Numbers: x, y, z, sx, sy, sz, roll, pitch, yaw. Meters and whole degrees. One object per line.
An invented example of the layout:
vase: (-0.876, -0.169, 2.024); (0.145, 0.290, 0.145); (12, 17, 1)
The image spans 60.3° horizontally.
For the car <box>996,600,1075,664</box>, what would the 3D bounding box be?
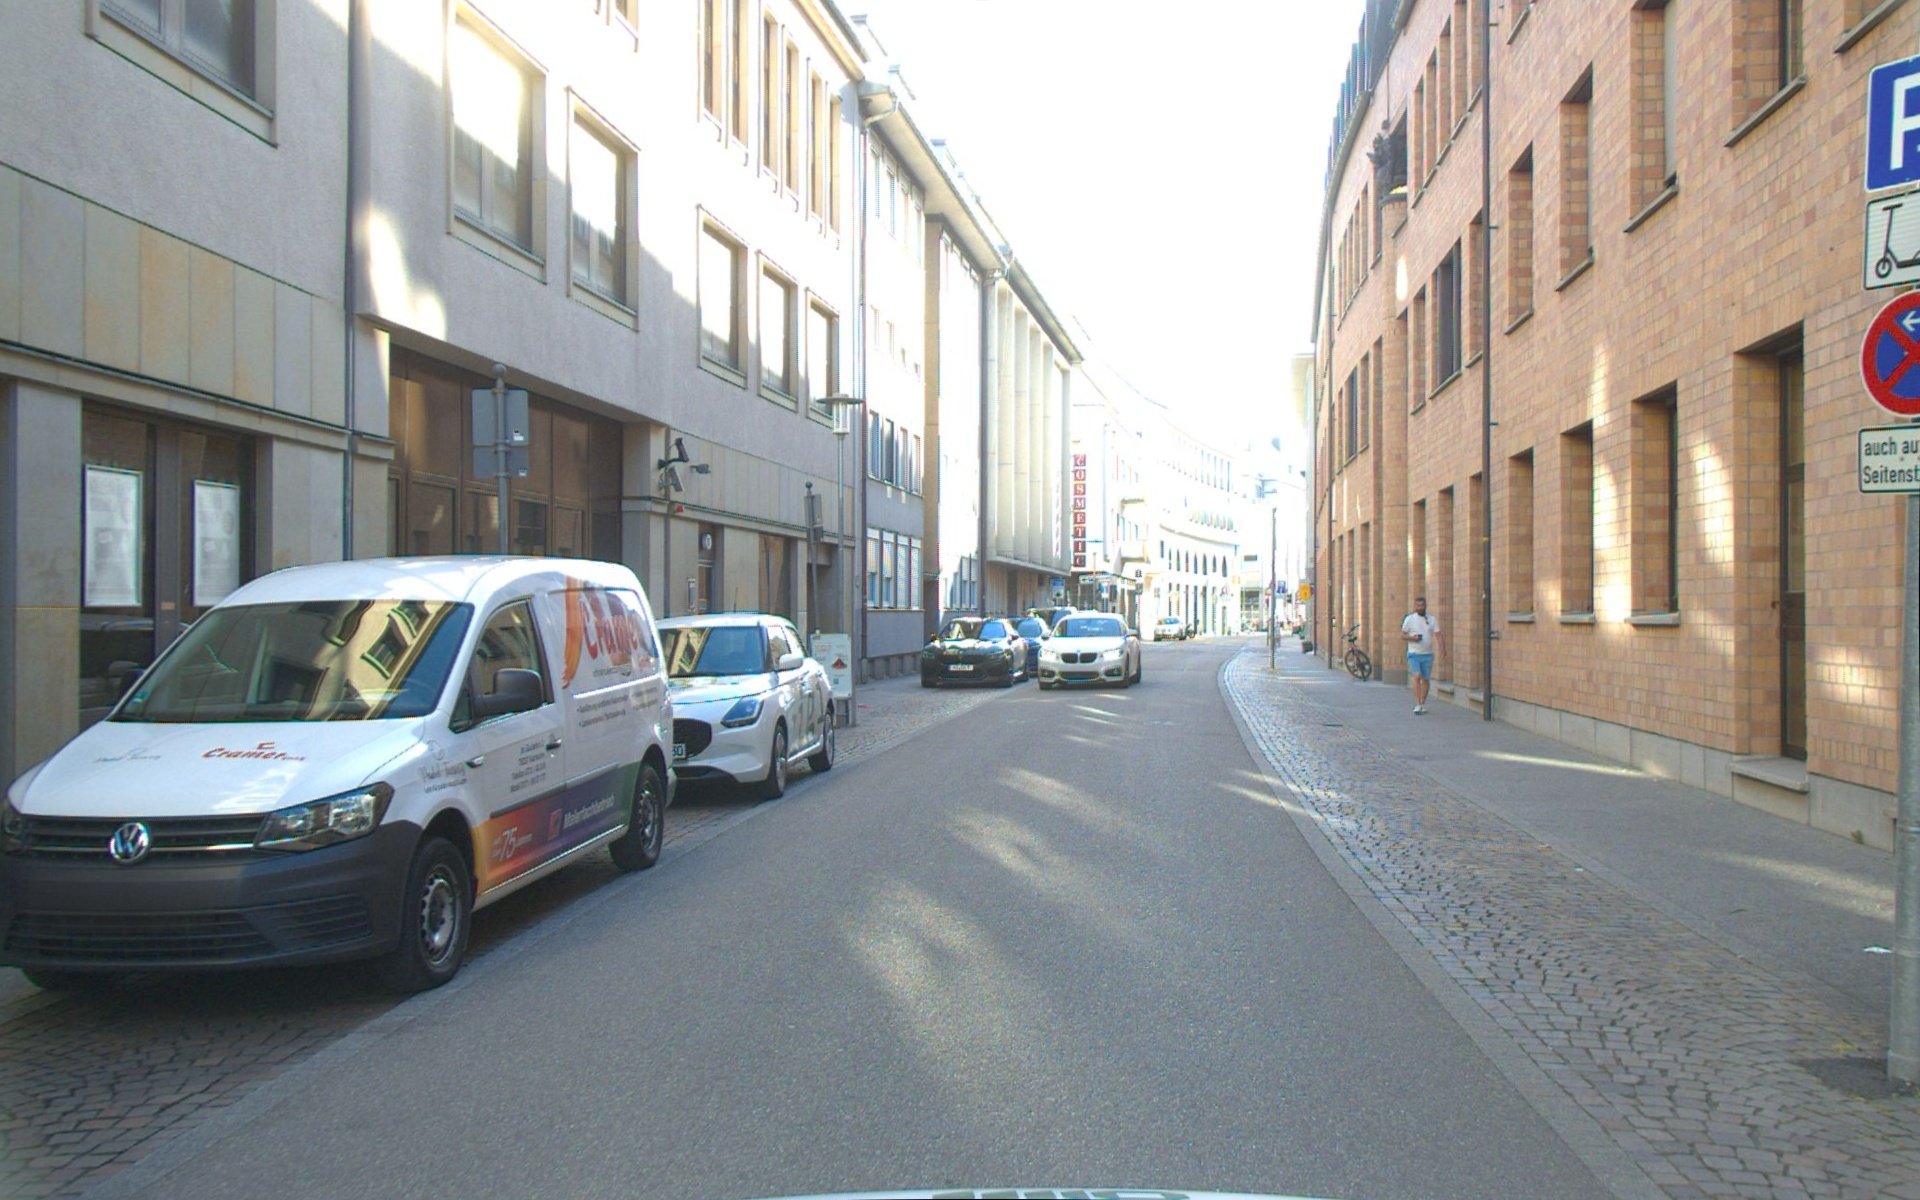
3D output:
car: (2.202, 0.886, 47.098); (1.850, 1.705, 4.557); (-1, -1, 7)

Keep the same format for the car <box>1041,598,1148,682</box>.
car: (2.732, 0.769, 32.833); (1.678, 1.544, 4.163); (-1, -1, 11)

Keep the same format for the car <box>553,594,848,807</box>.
car: (-2.111, 0.793, 14.472); (1.634, 1.549, 3.777); (-3, -1, 5)

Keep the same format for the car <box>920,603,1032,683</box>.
car: (0.418, 0.881, 35.303); (1.850, 1.557, 4.732); (-1, -1, 7)

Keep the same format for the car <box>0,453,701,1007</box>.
car: (-2.797, 0.498, 8.159); (1.859, 1.890, 4.736); (-2, -1, 5)

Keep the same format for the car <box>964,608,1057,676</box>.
car: (1.294, 0.995, 40.548); (1.850, 1.557, 4.343); (-1, -1, 7)

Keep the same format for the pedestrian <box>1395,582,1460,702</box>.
pedestrian: (7.018, 0.623, 24.874); (0.744, 1.746, 0.822); (-2, -1, 7)

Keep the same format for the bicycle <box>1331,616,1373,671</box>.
bicycle: (8.501, 0.931, 35.906); (0.538, 1.122, 1.983); (-4, -1, 5)

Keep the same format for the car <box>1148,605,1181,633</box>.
car: (12.316, 1.158, 99.589); (1.699, 1.634, 3.535); (0, -1, 11)

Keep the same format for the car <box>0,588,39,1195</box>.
car: (-3.267, 0.735, 2.413); (1.701, 1.518, 3.799); (-2, -1, 0)

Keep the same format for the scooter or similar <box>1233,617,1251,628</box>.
scooter or similar: (24.584, 1.951, 143.997); (0.517, 0.944, 2.215); (0, -1, 40)

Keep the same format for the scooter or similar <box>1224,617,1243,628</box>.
scooter or similar: (23.125, 1.905, 139.600); (0.517, 0.944, 2.215); (0, -1, 40)
